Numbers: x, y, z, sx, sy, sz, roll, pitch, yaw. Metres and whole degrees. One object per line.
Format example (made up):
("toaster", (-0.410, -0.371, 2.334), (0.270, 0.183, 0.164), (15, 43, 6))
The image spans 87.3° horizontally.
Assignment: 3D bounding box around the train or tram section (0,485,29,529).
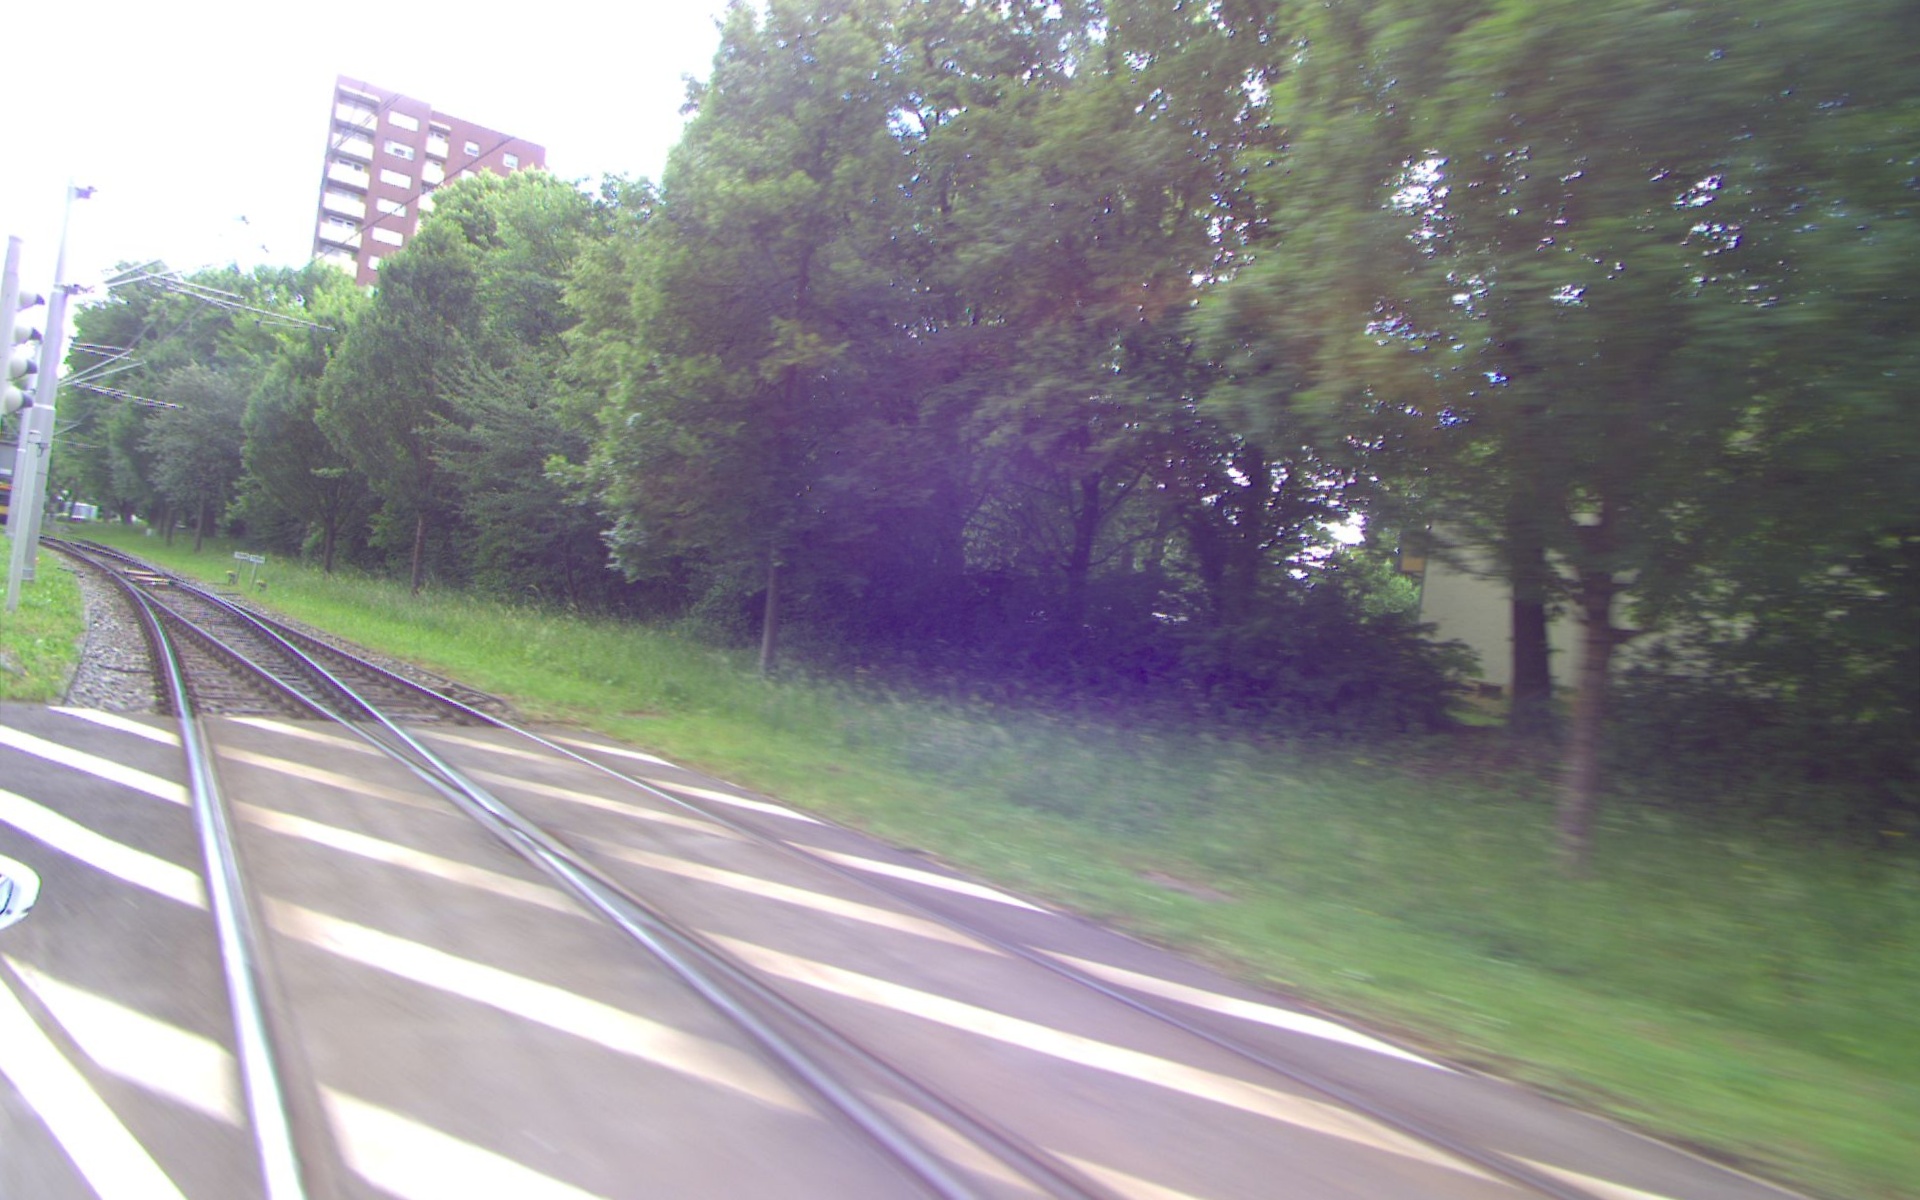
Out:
("train or tram section", (-92.067, -9.260, 93.707), (34.203, 3.348, 3.008), (7, -2, 39))
